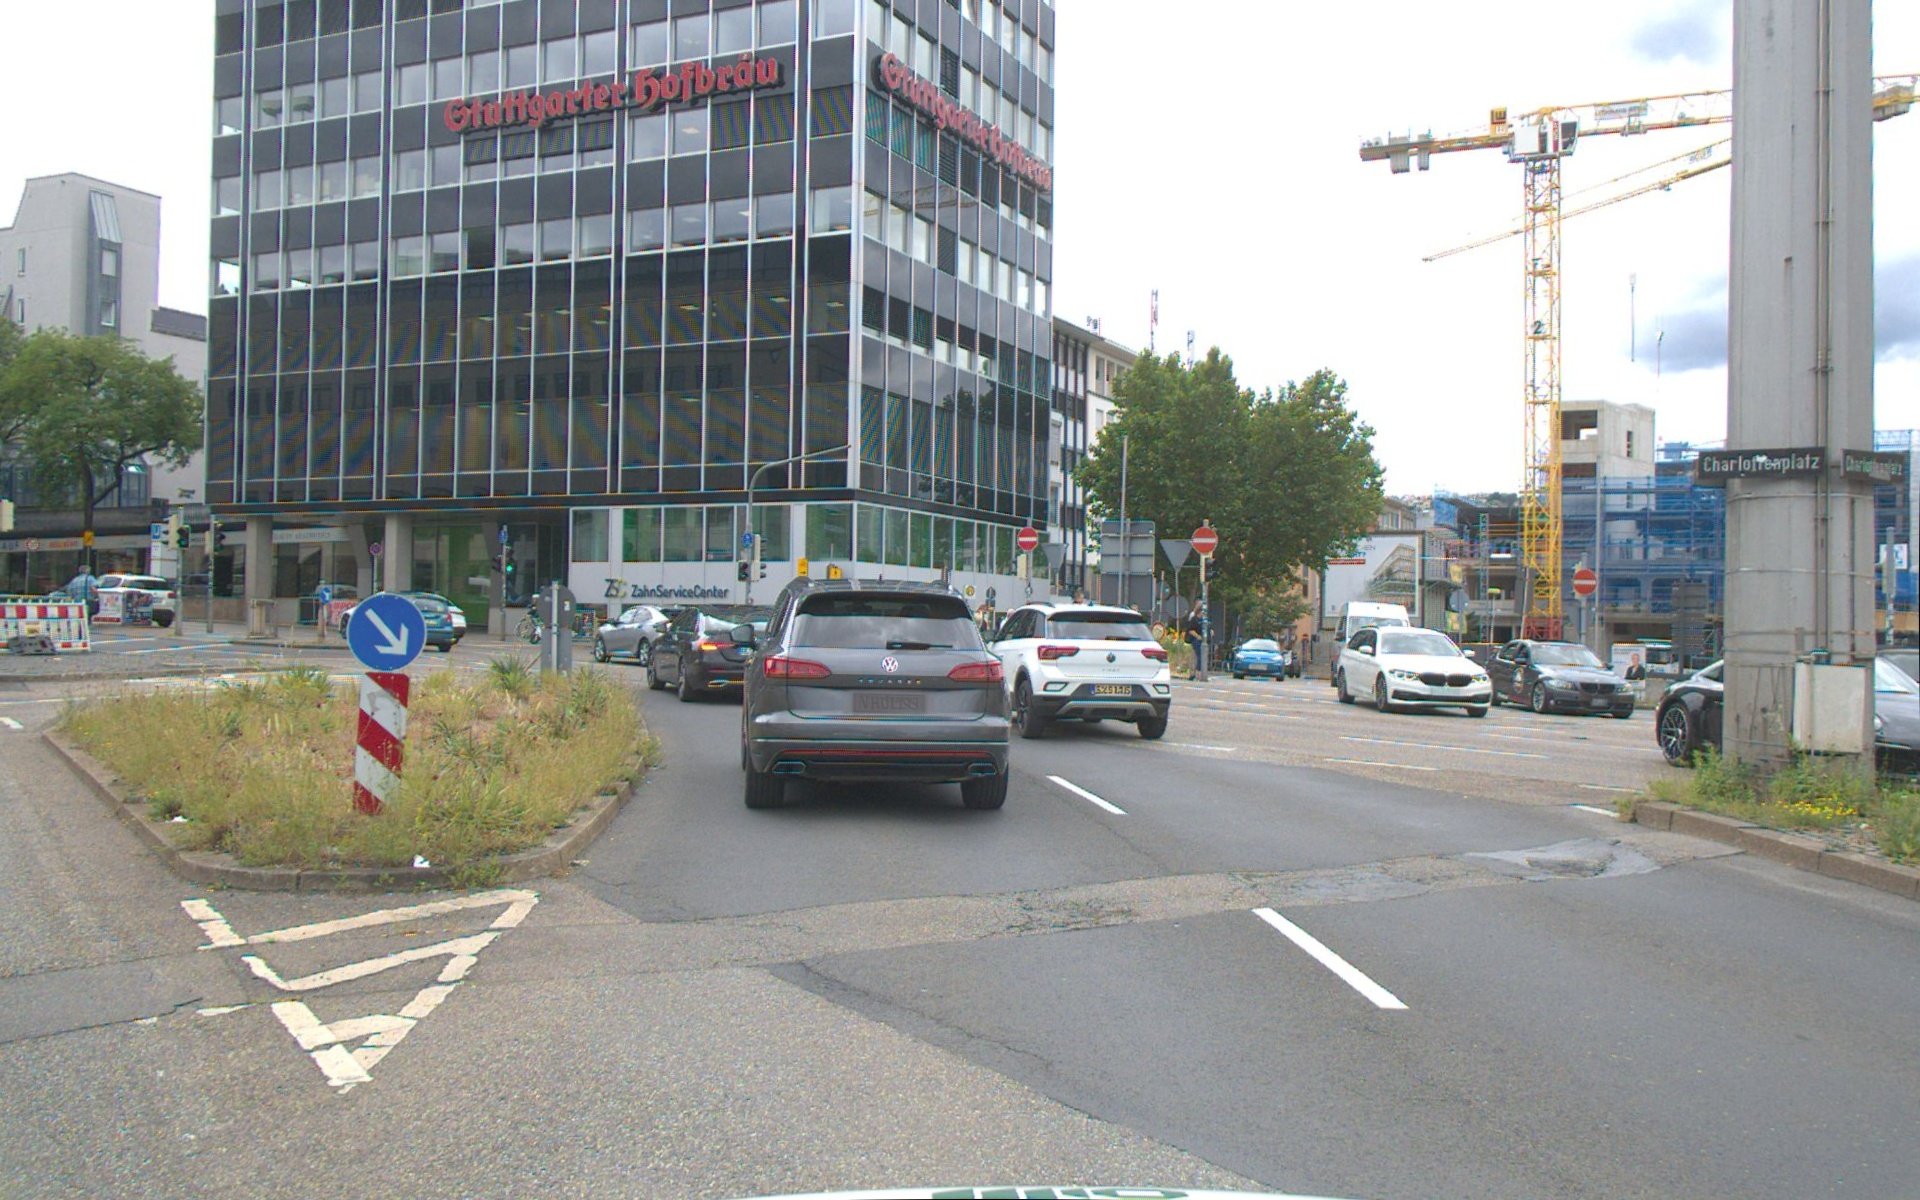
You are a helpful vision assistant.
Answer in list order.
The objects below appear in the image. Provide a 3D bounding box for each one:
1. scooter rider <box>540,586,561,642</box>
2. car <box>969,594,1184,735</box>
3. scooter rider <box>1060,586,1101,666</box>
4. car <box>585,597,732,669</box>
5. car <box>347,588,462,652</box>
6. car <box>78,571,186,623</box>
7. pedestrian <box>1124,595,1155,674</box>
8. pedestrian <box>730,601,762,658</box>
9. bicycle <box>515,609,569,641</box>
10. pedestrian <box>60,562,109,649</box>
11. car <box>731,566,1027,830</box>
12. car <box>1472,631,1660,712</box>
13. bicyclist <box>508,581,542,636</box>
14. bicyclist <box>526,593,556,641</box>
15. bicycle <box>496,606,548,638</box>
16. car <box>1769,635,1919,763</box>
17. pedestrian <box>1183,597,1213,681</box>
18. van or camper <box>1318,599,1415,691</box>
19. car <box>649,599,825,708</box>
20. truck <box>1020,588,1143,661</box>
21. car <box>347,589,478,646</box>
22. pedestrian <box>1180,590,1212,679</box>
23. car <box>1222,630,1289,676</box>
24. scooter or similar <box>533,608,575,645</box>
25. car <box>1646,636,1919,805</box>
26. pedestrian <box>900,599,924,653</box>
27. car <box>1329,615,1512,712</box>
[{"bbox_3d":[-13.452,0.455,54.360,0.630,1.840,0.592,1,0,-11],"label":"scooter rider"},{"bbox_3d":[1.350,0.797,20.742,1.765,1.573,3.925,1,-2,-10],"label":"car"},{"bbox_3d":[2.661,0.572,36.463,0.728,1.724,0.767,2,-1,15],"label":"scooter rider"},{"bbox_3d":[-7.217,0.761,39.300,1.818,1.457,4.096,4,-1,-36],"label":"car"},{"bbox_3d":[-14.571,0.502,43.291,1.818,1.544,3.719,1,0,-36],"label":"car"},{"bbox_3d":[-27.302,-0.105,54.503,3.695,1.594,1.829,1,0,39],"label":"car"},{"bbox_3d":[4.249,0.815,39.068,0.627,1.828,0.611,3,-1,7],"label":"pedestrian"},{"bbox_3d":[-6.649,0.919,51.332,0.784,1.727,0.547,1,0,30],"label":"pedestrian"},{"bbox_3d":[-14.034,0.822,55.516,1.630,1.045,0.581,1,0,2],"label":"bicycle"},{"bbox_3d":[-18.906,0.115,35.708,0.621,1.821,0.716,3,3,31],"label":"pedestrian"},{"bbox_3d":[-0.716,0.631,13.097,1.932,1.725,4.220,1,1,-5],"label":"car"},{"bbox_3d":[11.705,1.349,32.267,1.719,1.357,4.408,3,-1,-4],"label":"car"},{"bbox_3d":[-15.391,0.296,58.568,0.795,1.878,0.674,3,-2,25],"label":"bicyclist"},{"bbox_3d":[-14.053,0.565,55.519,0.826,1.576,0.566,1,0,2],"label":"bicyclist"},{"bbox_3d":[-15.490,0.769,58.545,1.727,1.024,0.680,3,2,25],"label":"bicycle"},{"bbox_3d":[12.299,1.253,21.374,1.689,1.443,3.645,2,0,-4],"label":"car"},{"bbox_3d":[5.629,0.918,39.103,0.627,1.943,0.611,2,-1,7],"label":"pedestrian"},{"bbox_3d":[12.219,1.317,50.092,2.095,2.520,6.165,2,-1,7],"label":"van or camper"},{"bbox_3d":[-3.535,0.771,25.571,1.806,1.420,4.123,4,0,-20],"label":"car"},{"bbox_3d":[5.767,1.206,77.045,2.295,3.117,8.181,1,-1,30],"label":"truck"},{"bbox_3d":[-16.199,0.494,48.897,3.690,1.544,1.832,1,0,35],"label":"car"},{"bbox_3d":[5.390,0.783,37.800,0.627,1.989,0.611,2,-1,11],"label":"pedestrian"},{"bbox_3d":[10.757,1.901,60.463,1.902,1.508,4.630,3,0,5],"label":"car"},{"bbox_3d":[-13.336,0.872,54.384,1.295,1.196,0.592,1,0,-11],"label":"scooter or similar"},{"bbox_3d":[8.408,1.069,15.977,1.638,1.286,4.054,1,0,-4],"label":"car"},{"bbox_3d":[-1.609,0.860,55.582,0.621,1.779,0.591,2,-1,14],"label":"pedestrian"},{"bbox_3d":[8.232,1.107,30.049,1.952,1.531,5.040,2,-1,1],"label":"car"}]
